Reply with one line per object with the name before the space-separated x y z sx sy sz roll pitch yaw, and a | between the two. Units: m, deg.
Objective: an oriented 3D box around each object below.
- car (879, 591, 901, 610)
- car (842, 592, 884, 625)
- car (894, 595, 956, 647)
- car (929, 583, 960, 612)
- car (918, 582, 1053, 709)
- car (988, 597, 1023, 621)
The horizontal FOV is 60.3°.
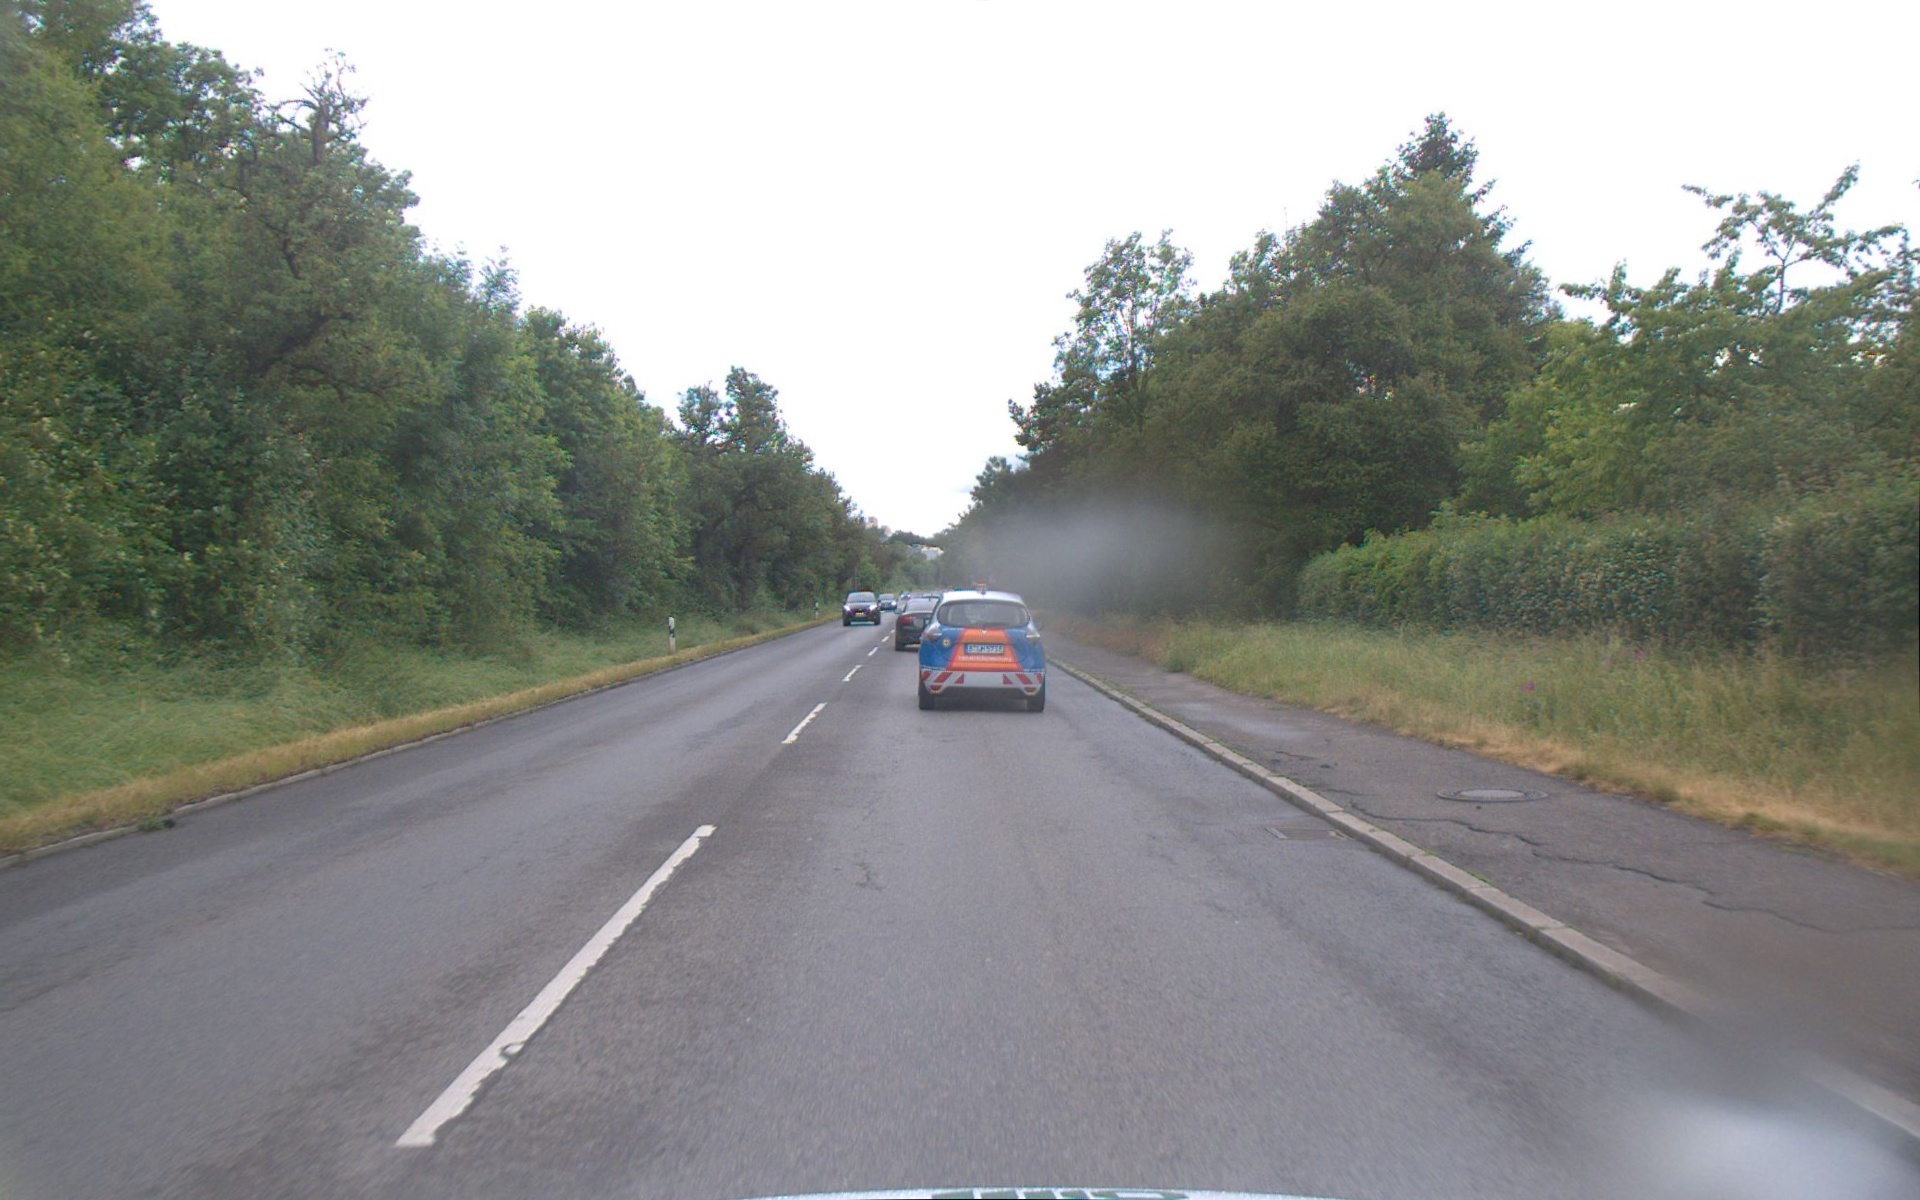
car | -5.785 0.023 136.305 1.676 1.423 4.148 -3 0 -2
car | -4.867 0.425 83.667 1.866 1.584 4.515 -1 0 0
car | -0.917 0.546 44.637 1.566 1.309 3.476 -1 0 0
car | -1.045 -0.169 109.642 1.953 1.854 3.999 -1 0 -2
car | 0.283 0.562 23.037 1.716 1.582 3.792 1 1 -1
car | 2.765 0.542 100.460 1.953 1.400 4.000 -1 0 0
